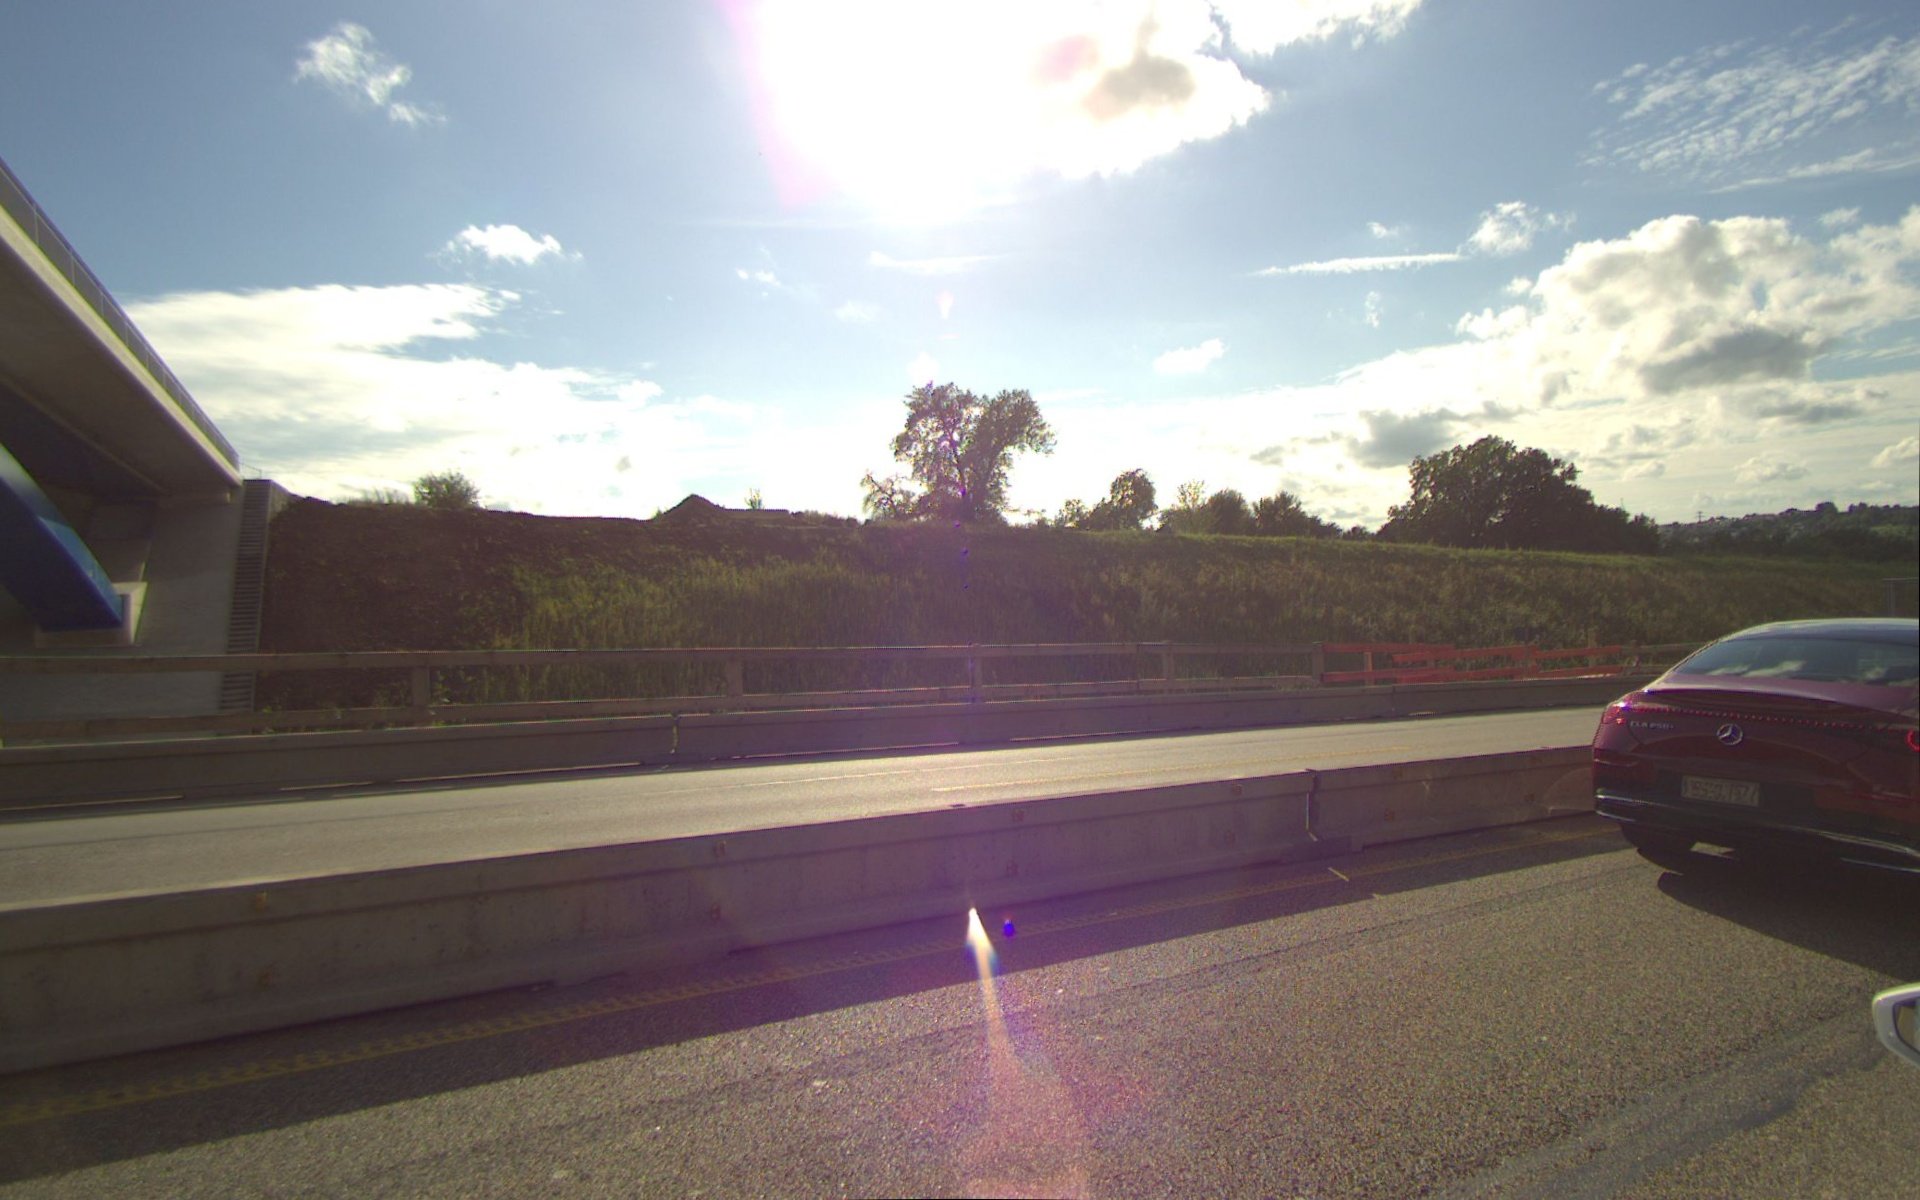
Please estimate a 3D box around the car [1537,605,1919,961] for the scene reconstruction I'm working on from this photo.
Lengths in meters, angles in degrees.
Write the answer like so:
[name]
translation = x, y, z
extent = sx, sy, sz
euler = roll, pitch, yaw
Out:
[car]
translation = 5.817, 0.821, 6.202
extent = 4.628, 1.512, 1.814
euler = 1, 1, -30
